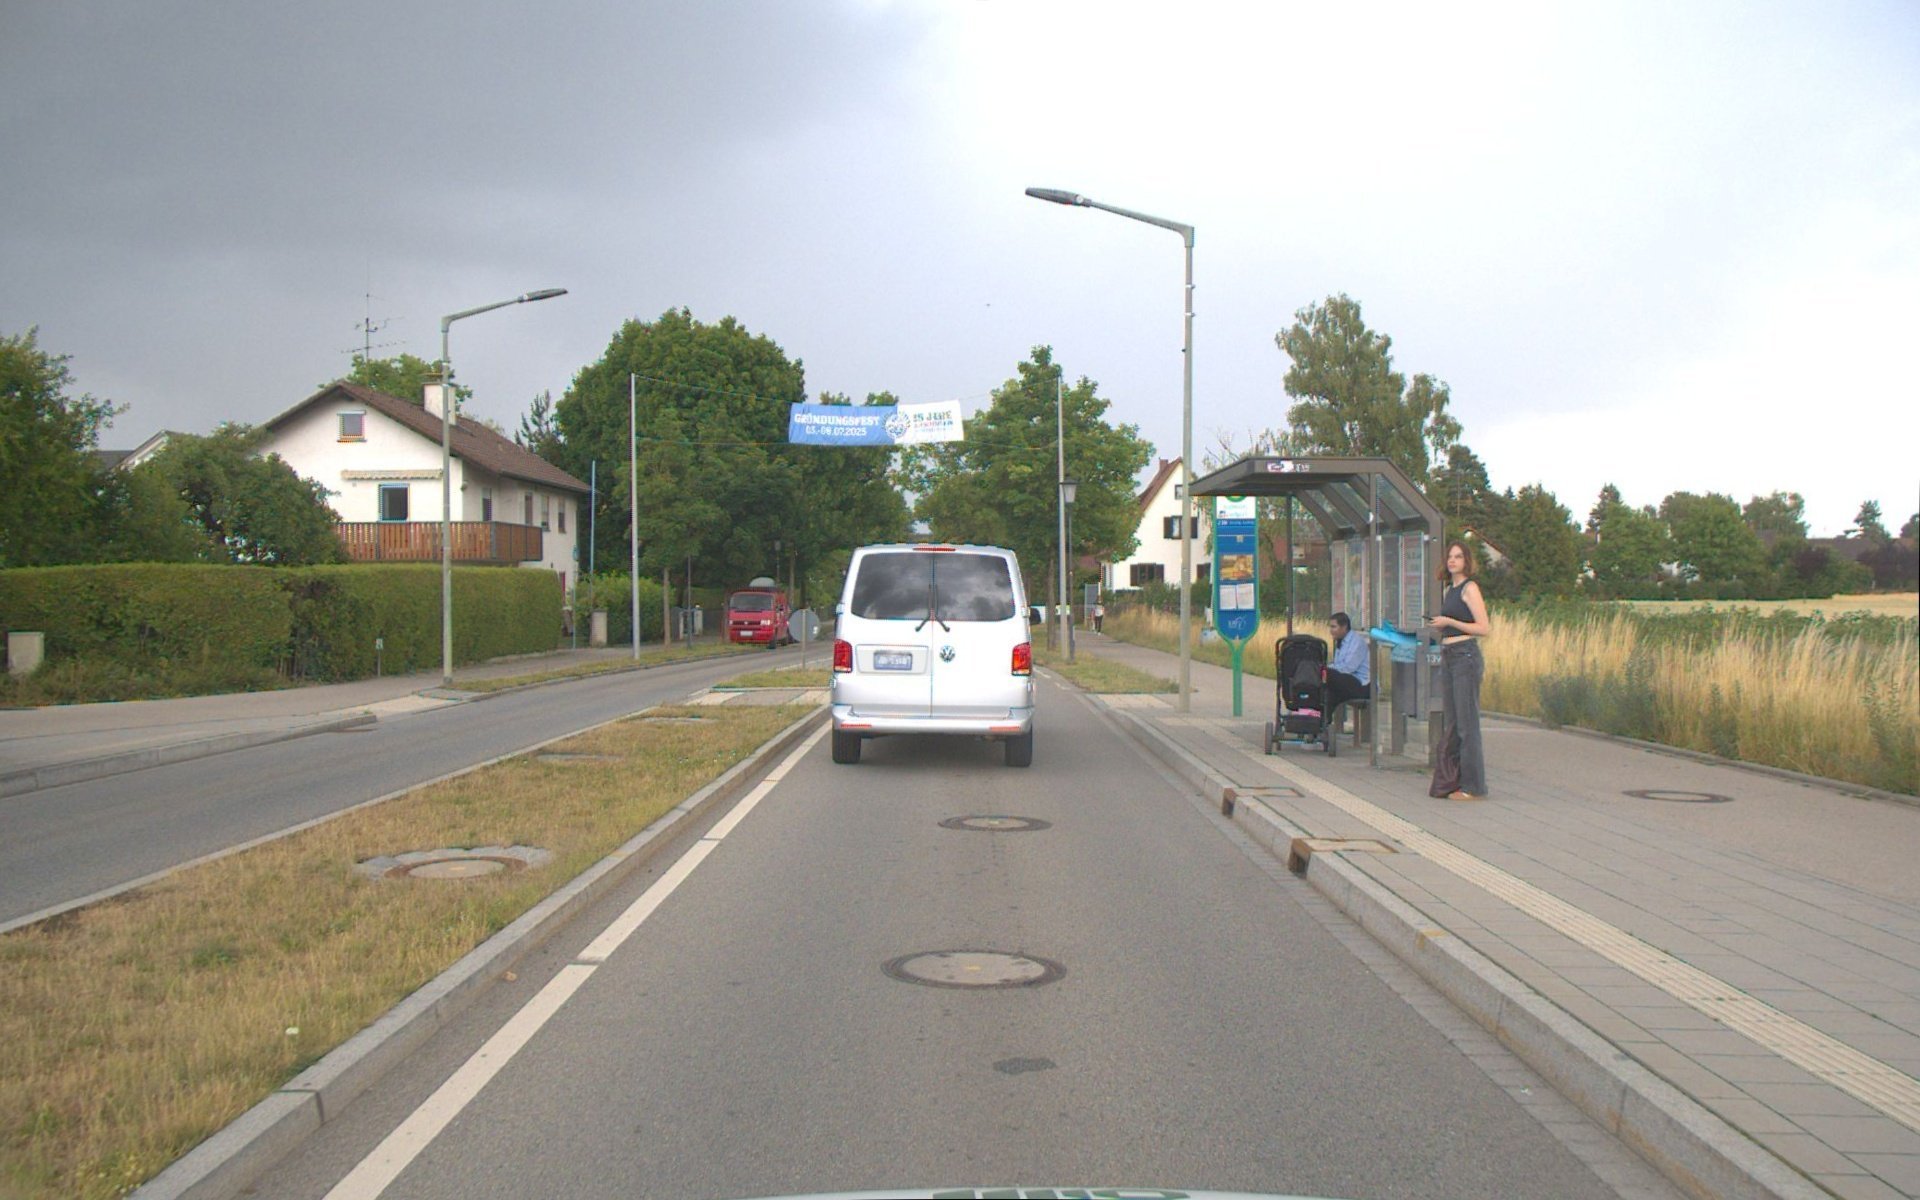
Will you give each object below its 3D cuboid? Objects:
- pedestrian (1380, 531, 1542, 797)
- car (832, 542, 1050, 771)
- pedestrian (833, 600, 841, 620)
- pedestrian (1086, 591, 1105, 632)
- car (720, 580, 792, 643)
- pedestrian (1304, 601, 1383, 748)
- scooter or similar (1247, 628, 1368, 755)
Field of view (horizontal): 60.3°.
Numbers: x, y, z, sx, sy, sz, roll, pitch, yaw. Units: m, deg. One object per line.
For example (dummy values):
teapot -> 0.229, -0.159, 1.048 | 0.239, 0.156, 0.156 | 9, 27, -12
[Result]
pedestrian -> 3.570, 0.443, 11.818 | 0.771, 1.824, 0.773 | 2, 0, -24
car -> -0.194, 0.494, 16.098 | 1.849, 1.945, 3.999 | 0, 0, -1
pedestrian -> -9.861, 0.781, 132.613 | 0.610, 1.576, 0.522 | 1, -1, -5
pedestrian -> 5.935, 0.501, 72.324 | 0.820, 1.785, 0.870 | 0, 0, 4
car -> -7.004, 0.372, 57.117 | 1.792, 2.066, 5.046 | 1, 0, 0
pedestrian -> 3.564, 0.680, 15.413 | 0.650, 1.325, 0.505 | 1, 0, 9
scooter or similar -> 3.146, 0.803, 14.942 | 0.694, 1.080, 1.056 | 1, -1, 36
